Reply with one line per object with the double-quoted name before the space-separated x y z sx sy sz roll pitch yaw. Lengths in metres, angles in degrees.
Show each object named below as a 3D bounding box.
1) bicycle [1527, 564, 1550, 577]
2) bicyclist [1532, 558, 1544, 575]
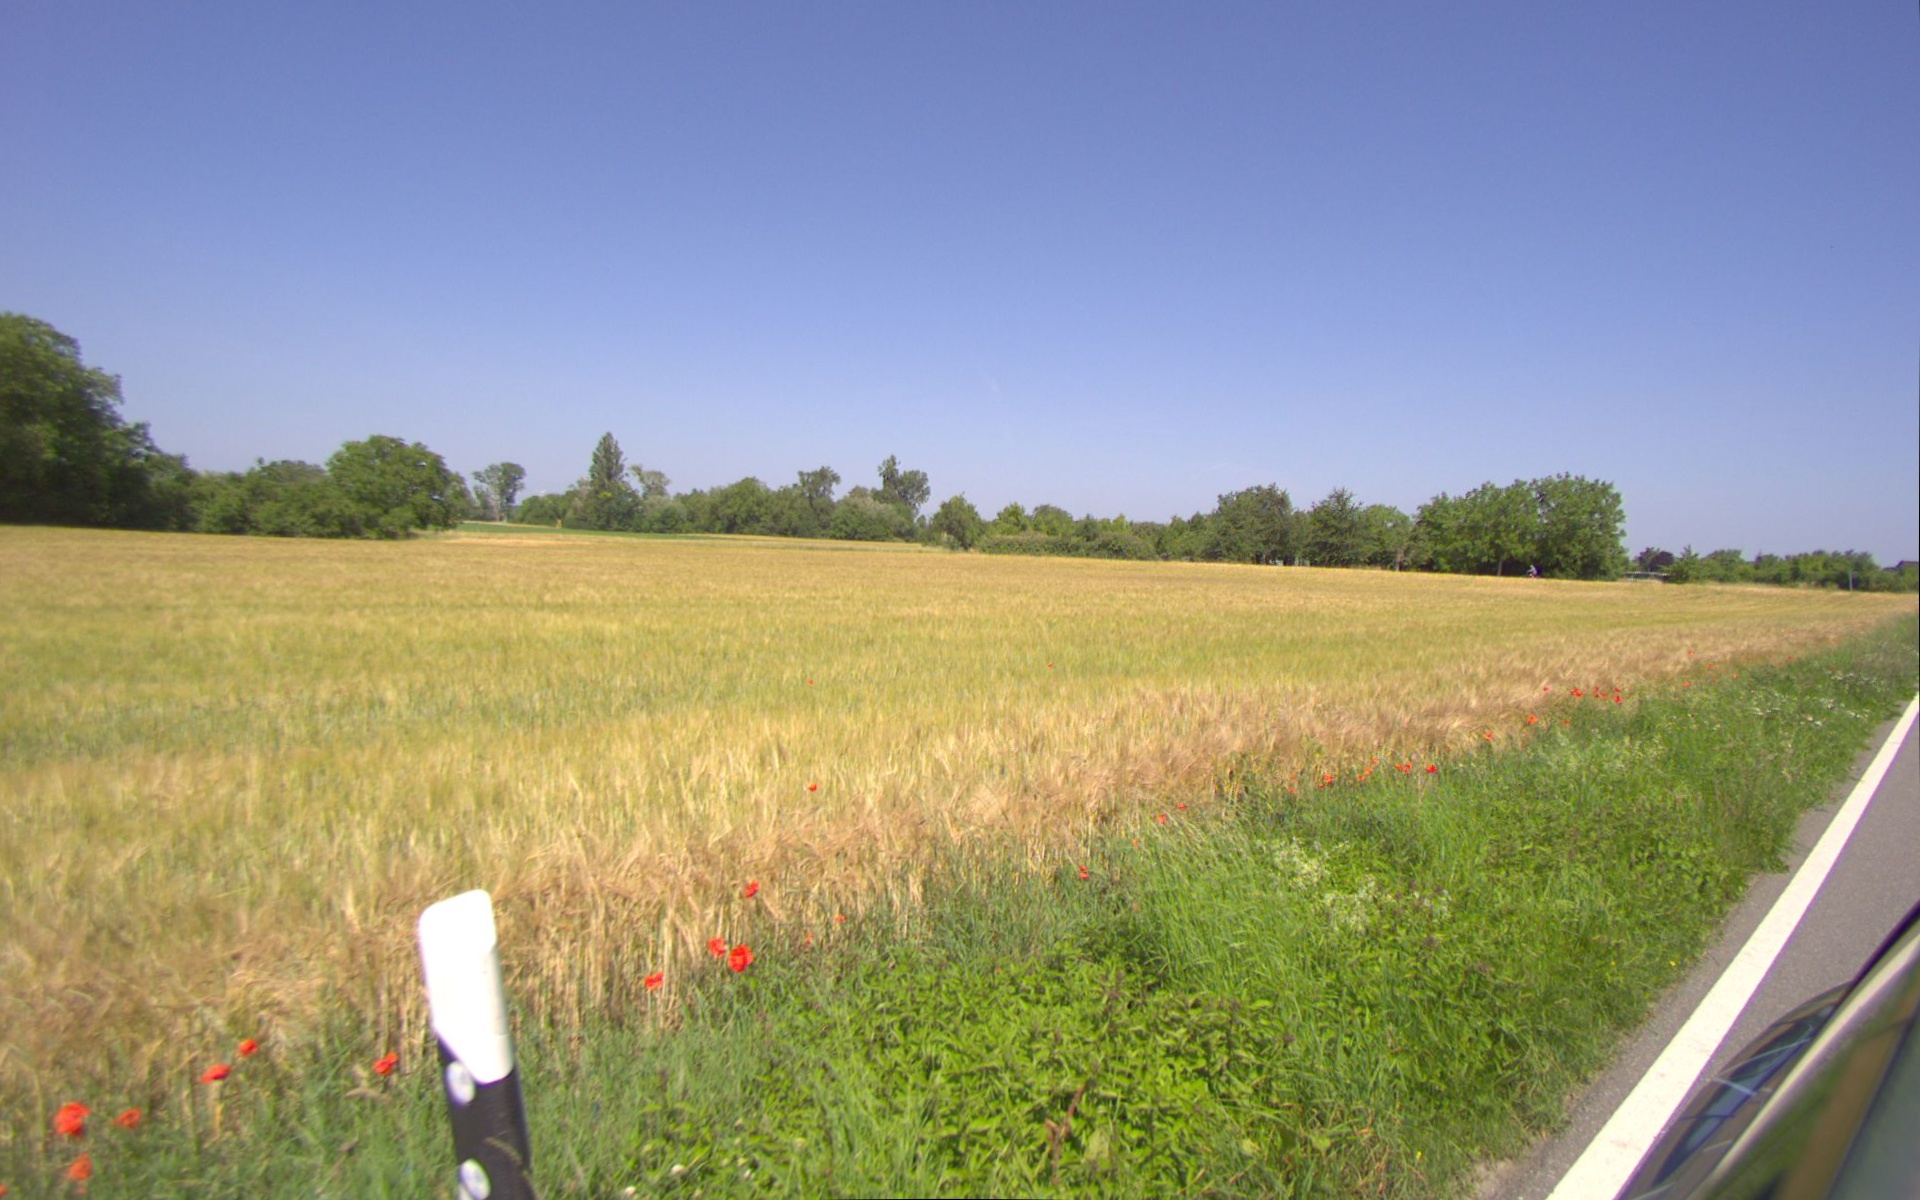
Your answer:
"bicycle" 54.543 -2.823 95.486 1.742 1.129 0.520 3 3 13
"bicyclist" 54.559 -3.184 95.467 0.724 1.592 0.672 3 3 12
